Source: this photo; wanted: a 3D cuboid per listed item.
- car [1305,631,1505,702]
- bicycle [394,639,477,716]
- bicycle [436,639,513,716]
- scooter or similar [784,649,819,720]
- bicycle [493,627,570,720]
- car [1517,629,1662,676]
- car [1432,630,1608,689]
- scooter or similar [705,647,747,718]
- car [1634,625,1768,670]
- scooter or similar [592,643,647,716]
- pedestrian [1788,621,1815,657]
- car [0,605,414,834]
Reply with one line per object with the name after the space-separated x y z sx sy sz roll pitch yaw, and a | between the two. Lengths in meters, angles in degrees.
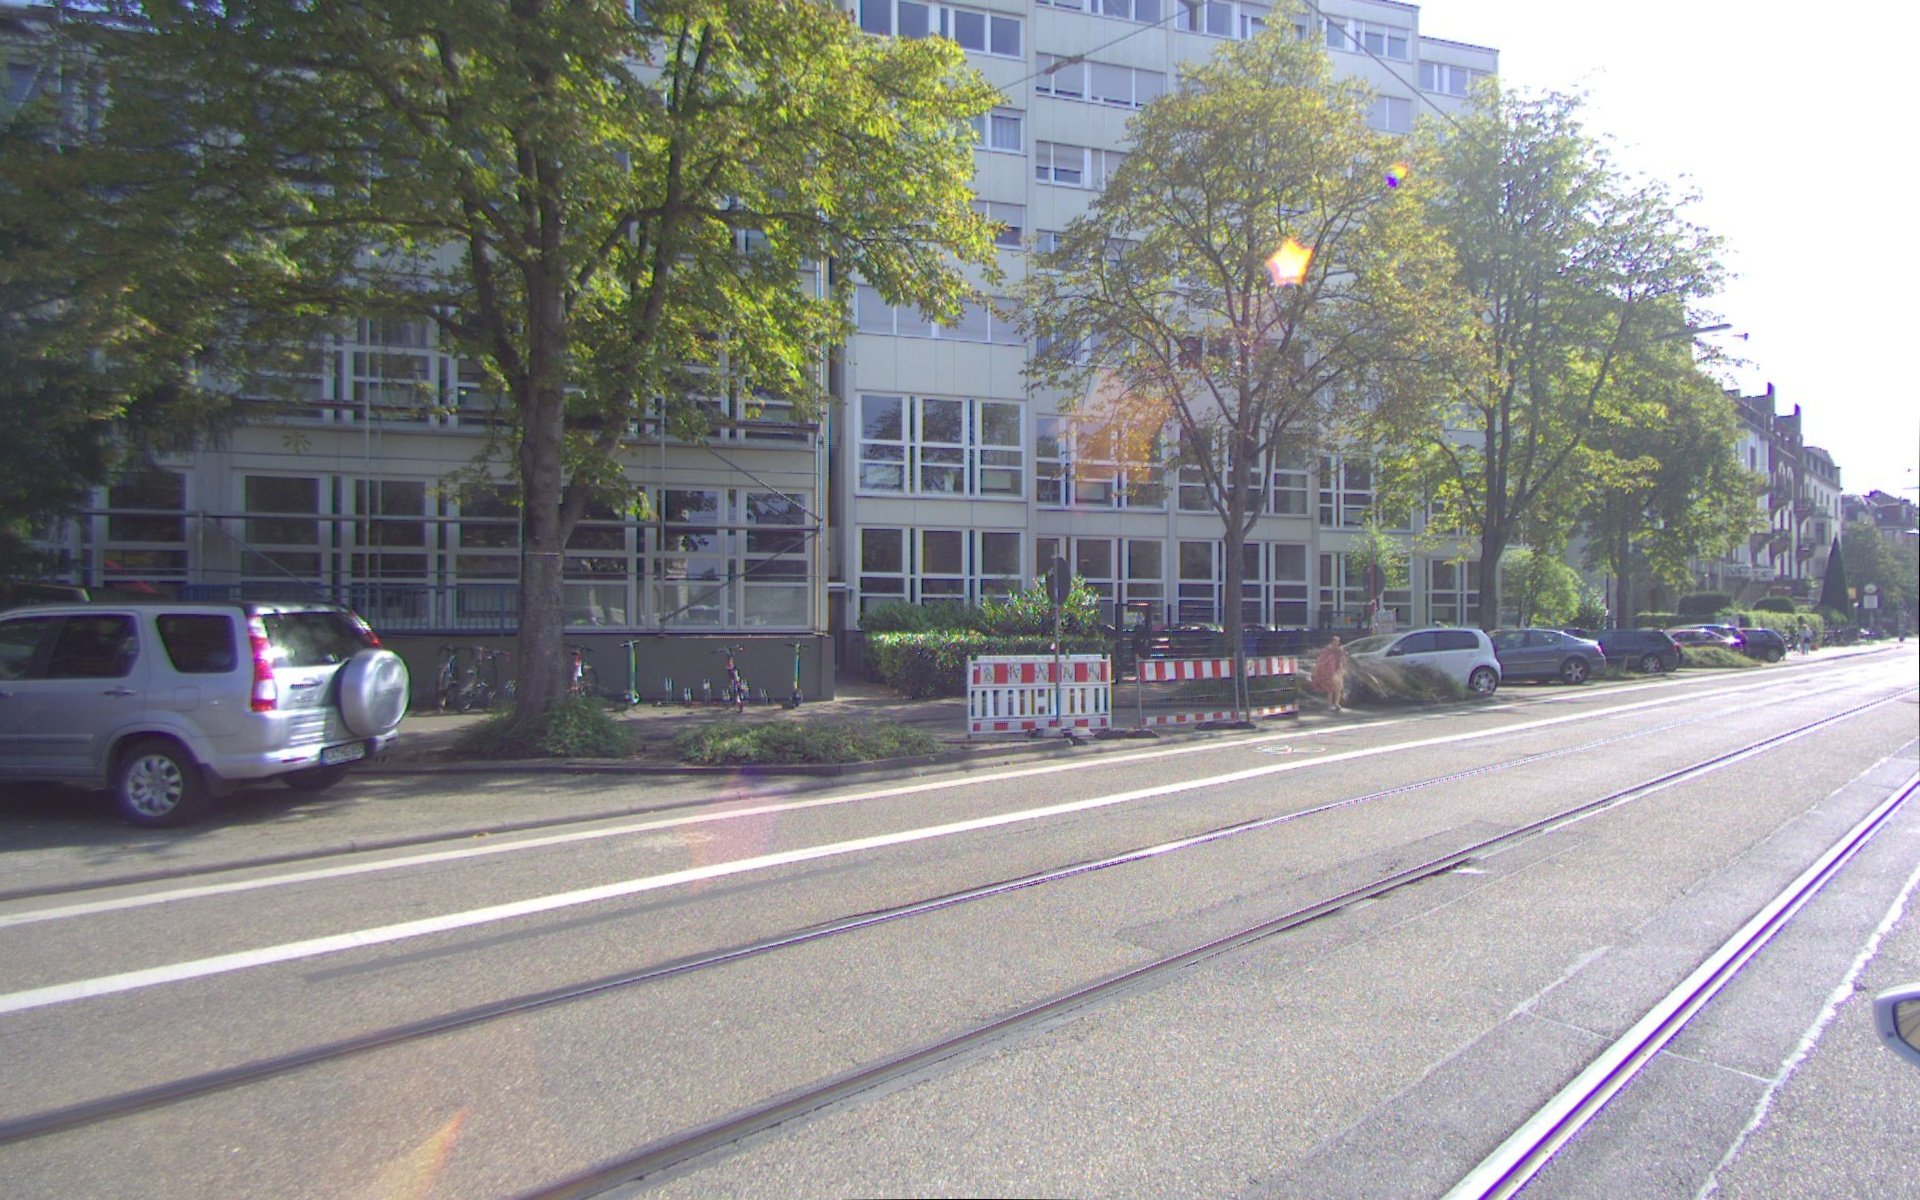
9.639 1.422 21.941 3.689 1.462 1.570 0 -1 -1 | car
-8.517 1.231 16.406 0.575 1.149 2.032 0 -1 -9 | bicycle
-7.933 1.236 16.499 0.575 1.149 2.032 0 -1 -9 | bicycle
-2.863 1.492 18.110 0.575 1.149 2.032 0 -1 -9 | scooter or similar
-6.984 1.151 16.489 0.575 1.399 2.429 0 -1 -9 | bicycle
20.315 1.678 32.536 3.688 1.425 1.571 0 -1 3 | car
14.495 1.525 26.154 3.688 1.462 1.571 0 -1 3 | car
-4.162 1.435 17.940 0.575 1.149 2.032 0 -1 -9 | scooter or similar
28.918 1.822 39.333 3.923 1.661 1.691 0 -1 22 | car
-5.929 1.356 17.588 0.575 1.149 2.032 0 -1 -9 | scooter or similar
42.447 1.977 50.645 0.656 1.783 0.953 1 -1 -42 | pedestrian
-6.811 0.875 8.248 3.719 1.643 1.745 0 -1 4 | car
